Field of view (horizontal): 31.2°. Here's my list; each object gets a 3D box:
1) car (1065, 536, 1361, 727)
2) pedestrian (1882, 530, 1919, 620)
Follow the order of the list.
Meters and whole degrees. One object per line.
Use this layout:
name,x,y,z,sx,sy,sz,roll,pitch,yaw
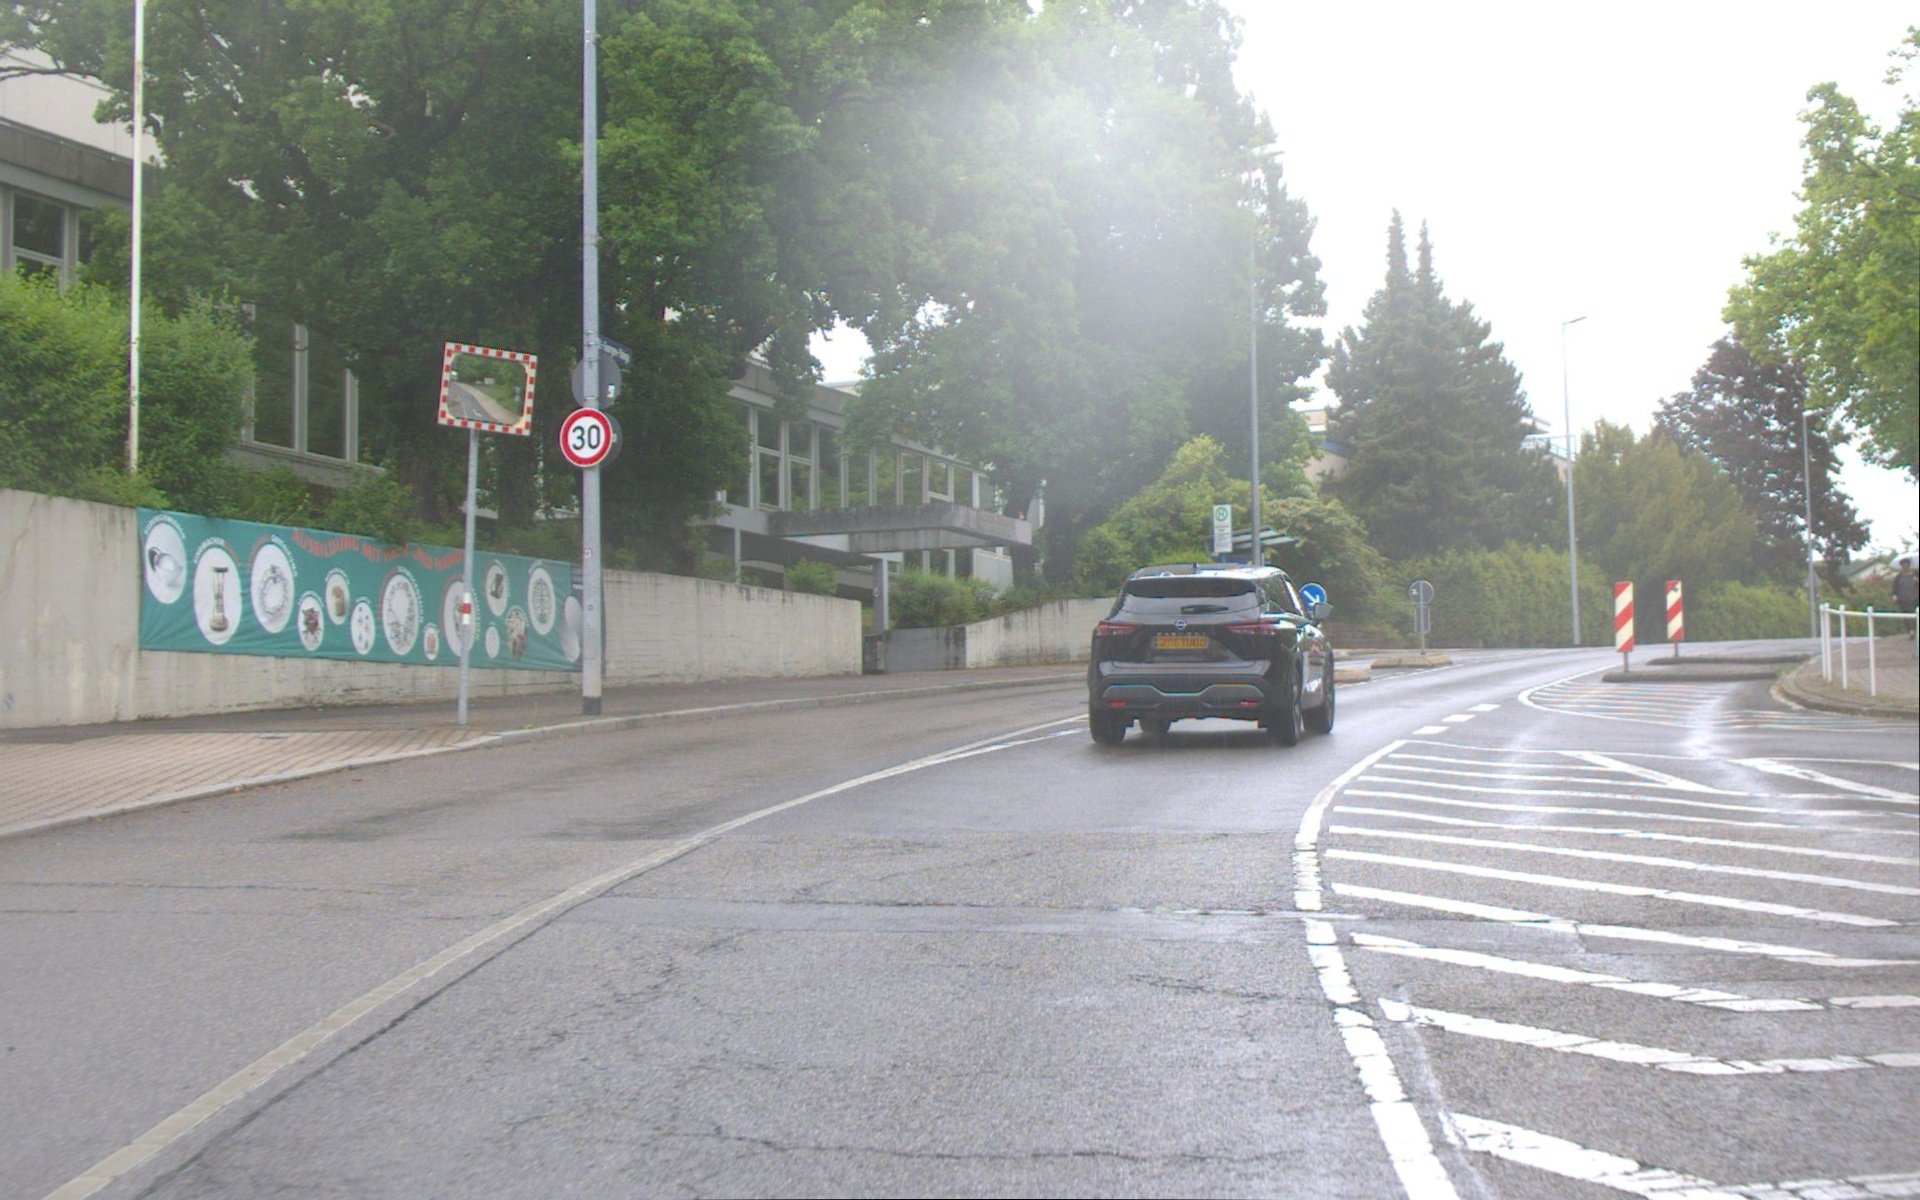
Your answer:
car,2.380,0.239,31.384,1.930,1.607,3.997,1,1,16
pedestrian,18.809,-0.496,67.759,1.084,1.716,1.165,-4,-1,13
